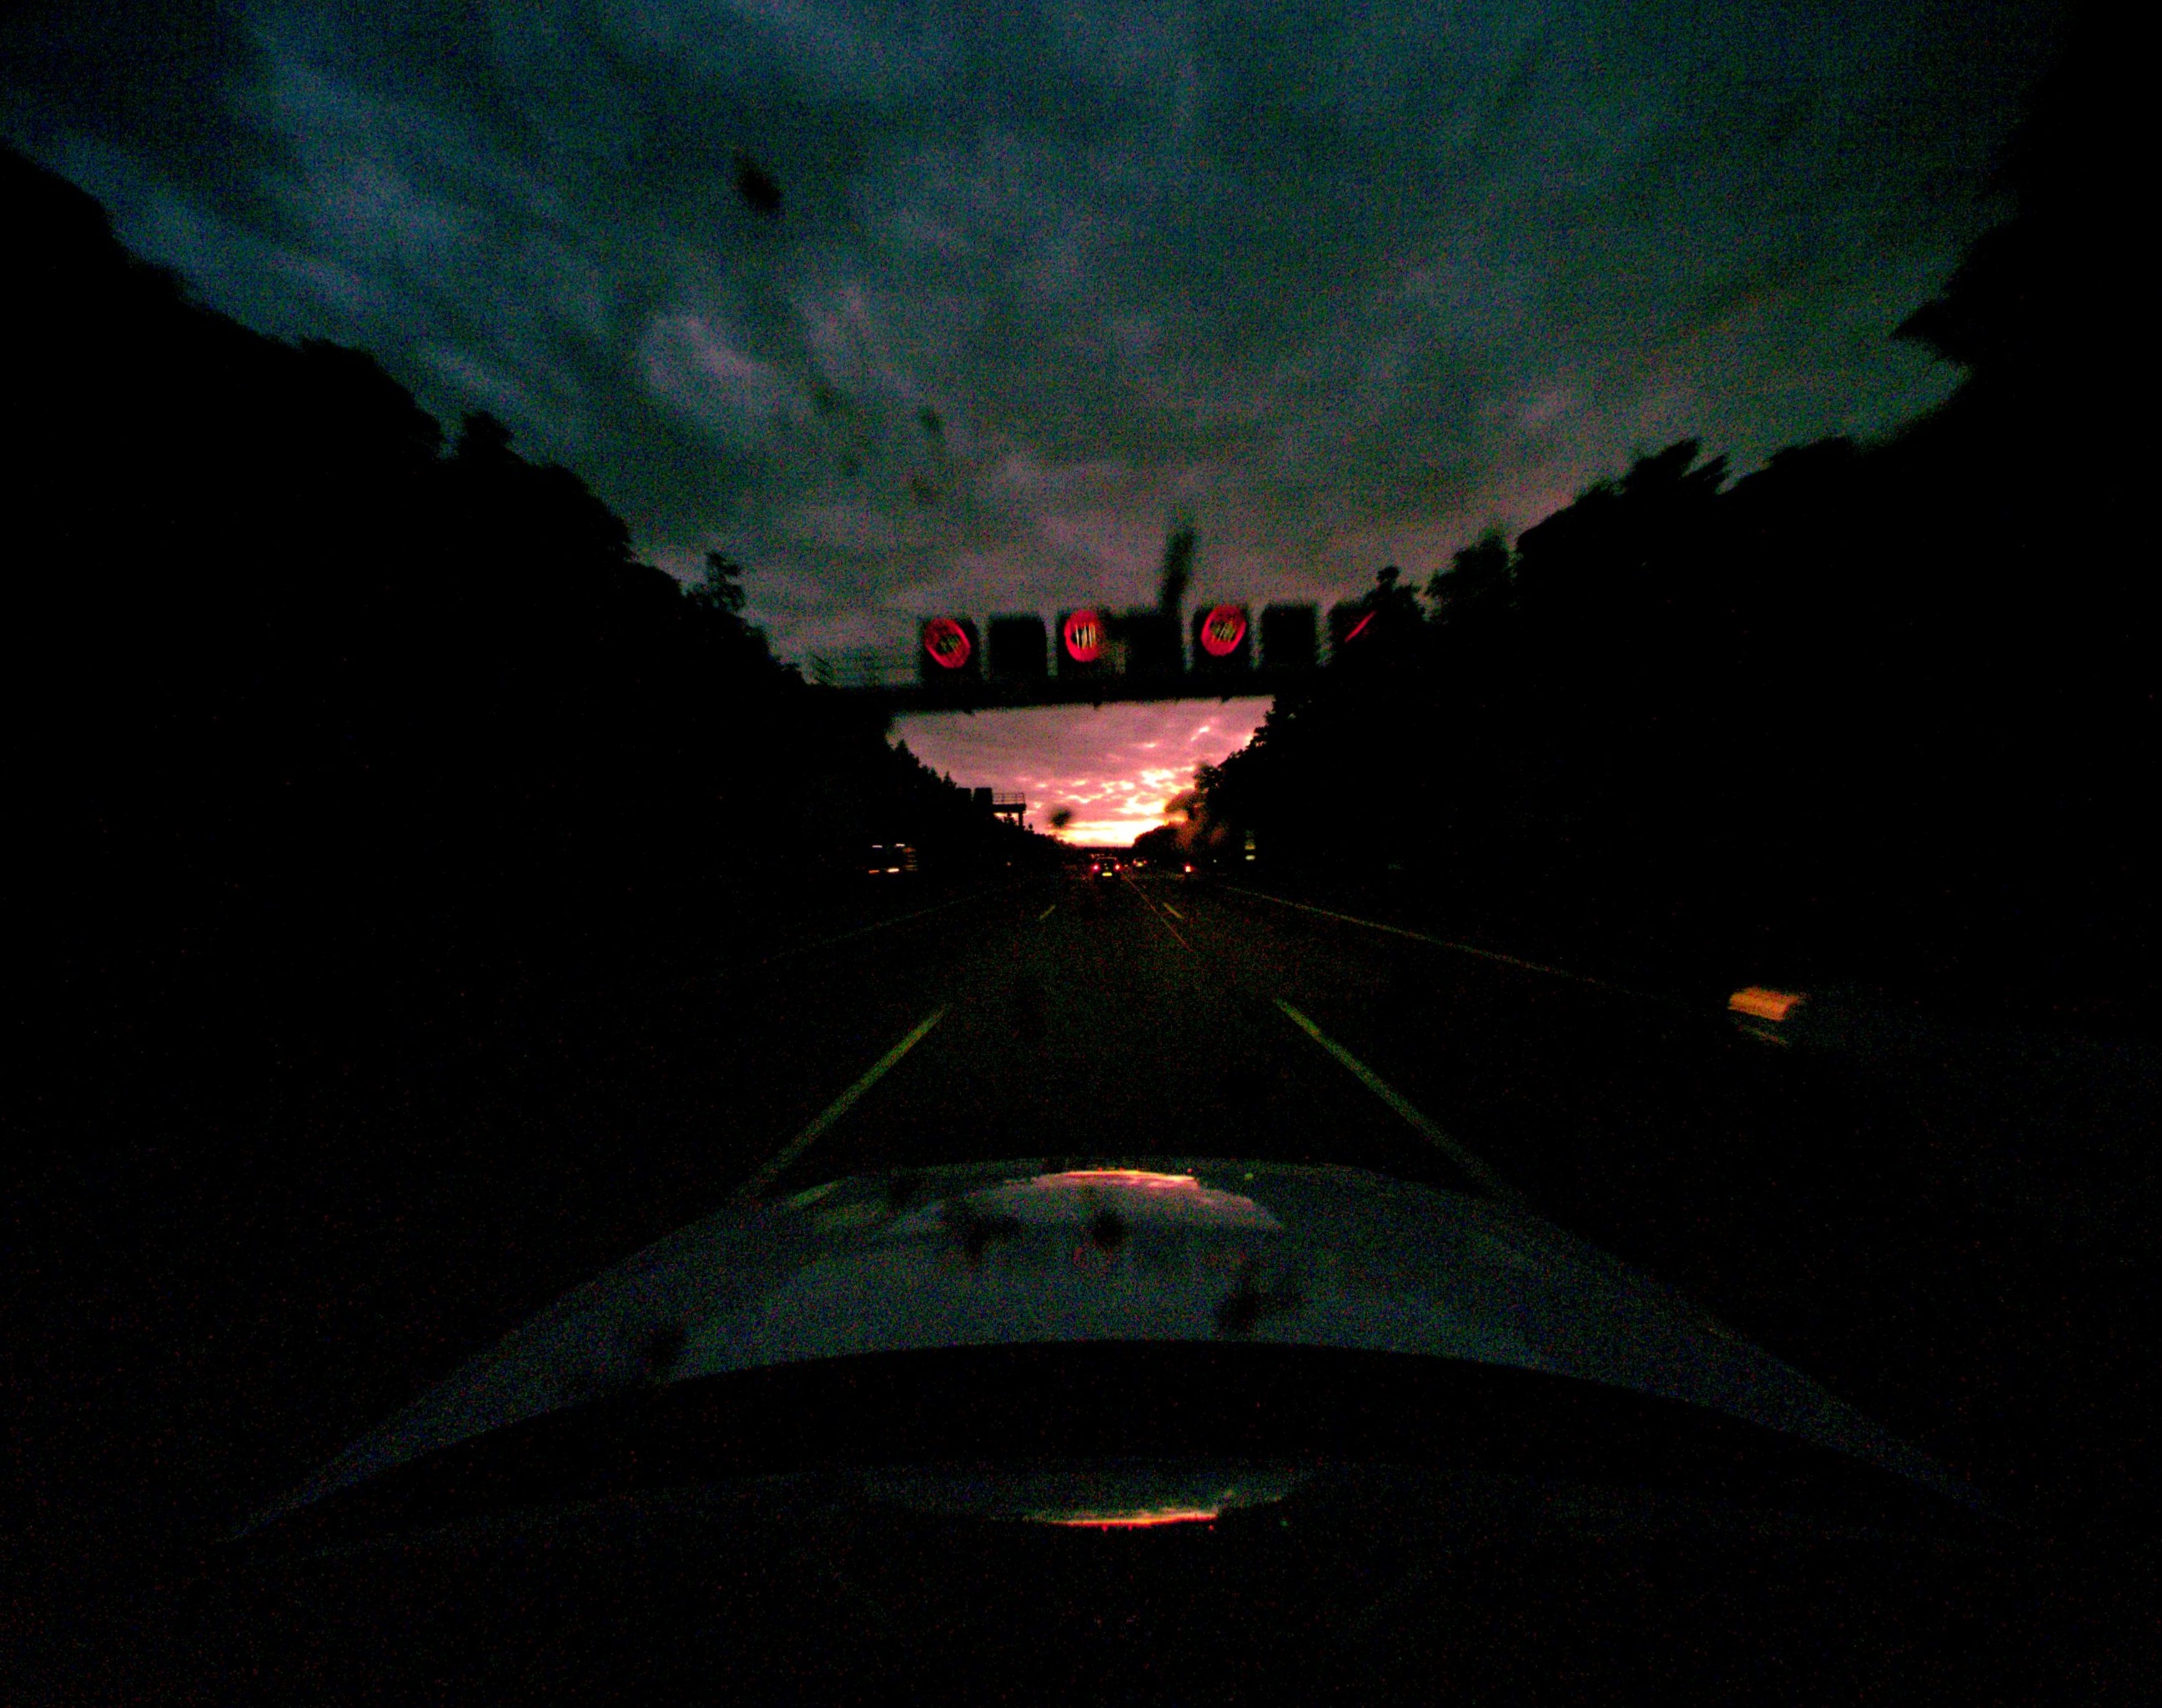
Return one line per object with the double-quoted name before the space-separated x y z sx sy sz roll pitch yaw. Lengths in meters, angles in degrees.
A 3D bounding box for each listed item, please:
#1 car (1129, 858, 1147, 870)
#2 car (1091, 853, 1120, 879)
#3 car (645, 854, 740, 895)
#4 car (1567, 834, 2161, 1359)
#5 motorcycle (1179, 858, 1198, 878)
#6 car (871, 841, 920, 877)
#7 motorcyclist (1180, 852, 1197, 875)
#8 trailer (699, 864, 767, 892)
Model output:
"car" 7.302 1.252 104.471 1.861 1.494 4.394 0 -1 -2
"car" 1.485 0.727 49.186 1.697 1.509 4.234 0 -1 2
"car" -17.567 0.876 37.067 1.986 1.735 4.575 -1 0 2
"car" 4.014 0.688 2.967 1.820 1.475 4.398 -2 1 -1
"motorcycle" 6.181 0.797 46.934 0.826 1.134 2.477 -1 0 2
"car" -16.260 0.428 71.900 1.973 2.880 7.840 -2 0 3
"motorcyclist" 6.172 0.551 46.868 0.826 1.291 1.190 -1 0 2
"trailer" -17.414 1.174 40.937 1.986 1.249 3.124 -1 0 2
